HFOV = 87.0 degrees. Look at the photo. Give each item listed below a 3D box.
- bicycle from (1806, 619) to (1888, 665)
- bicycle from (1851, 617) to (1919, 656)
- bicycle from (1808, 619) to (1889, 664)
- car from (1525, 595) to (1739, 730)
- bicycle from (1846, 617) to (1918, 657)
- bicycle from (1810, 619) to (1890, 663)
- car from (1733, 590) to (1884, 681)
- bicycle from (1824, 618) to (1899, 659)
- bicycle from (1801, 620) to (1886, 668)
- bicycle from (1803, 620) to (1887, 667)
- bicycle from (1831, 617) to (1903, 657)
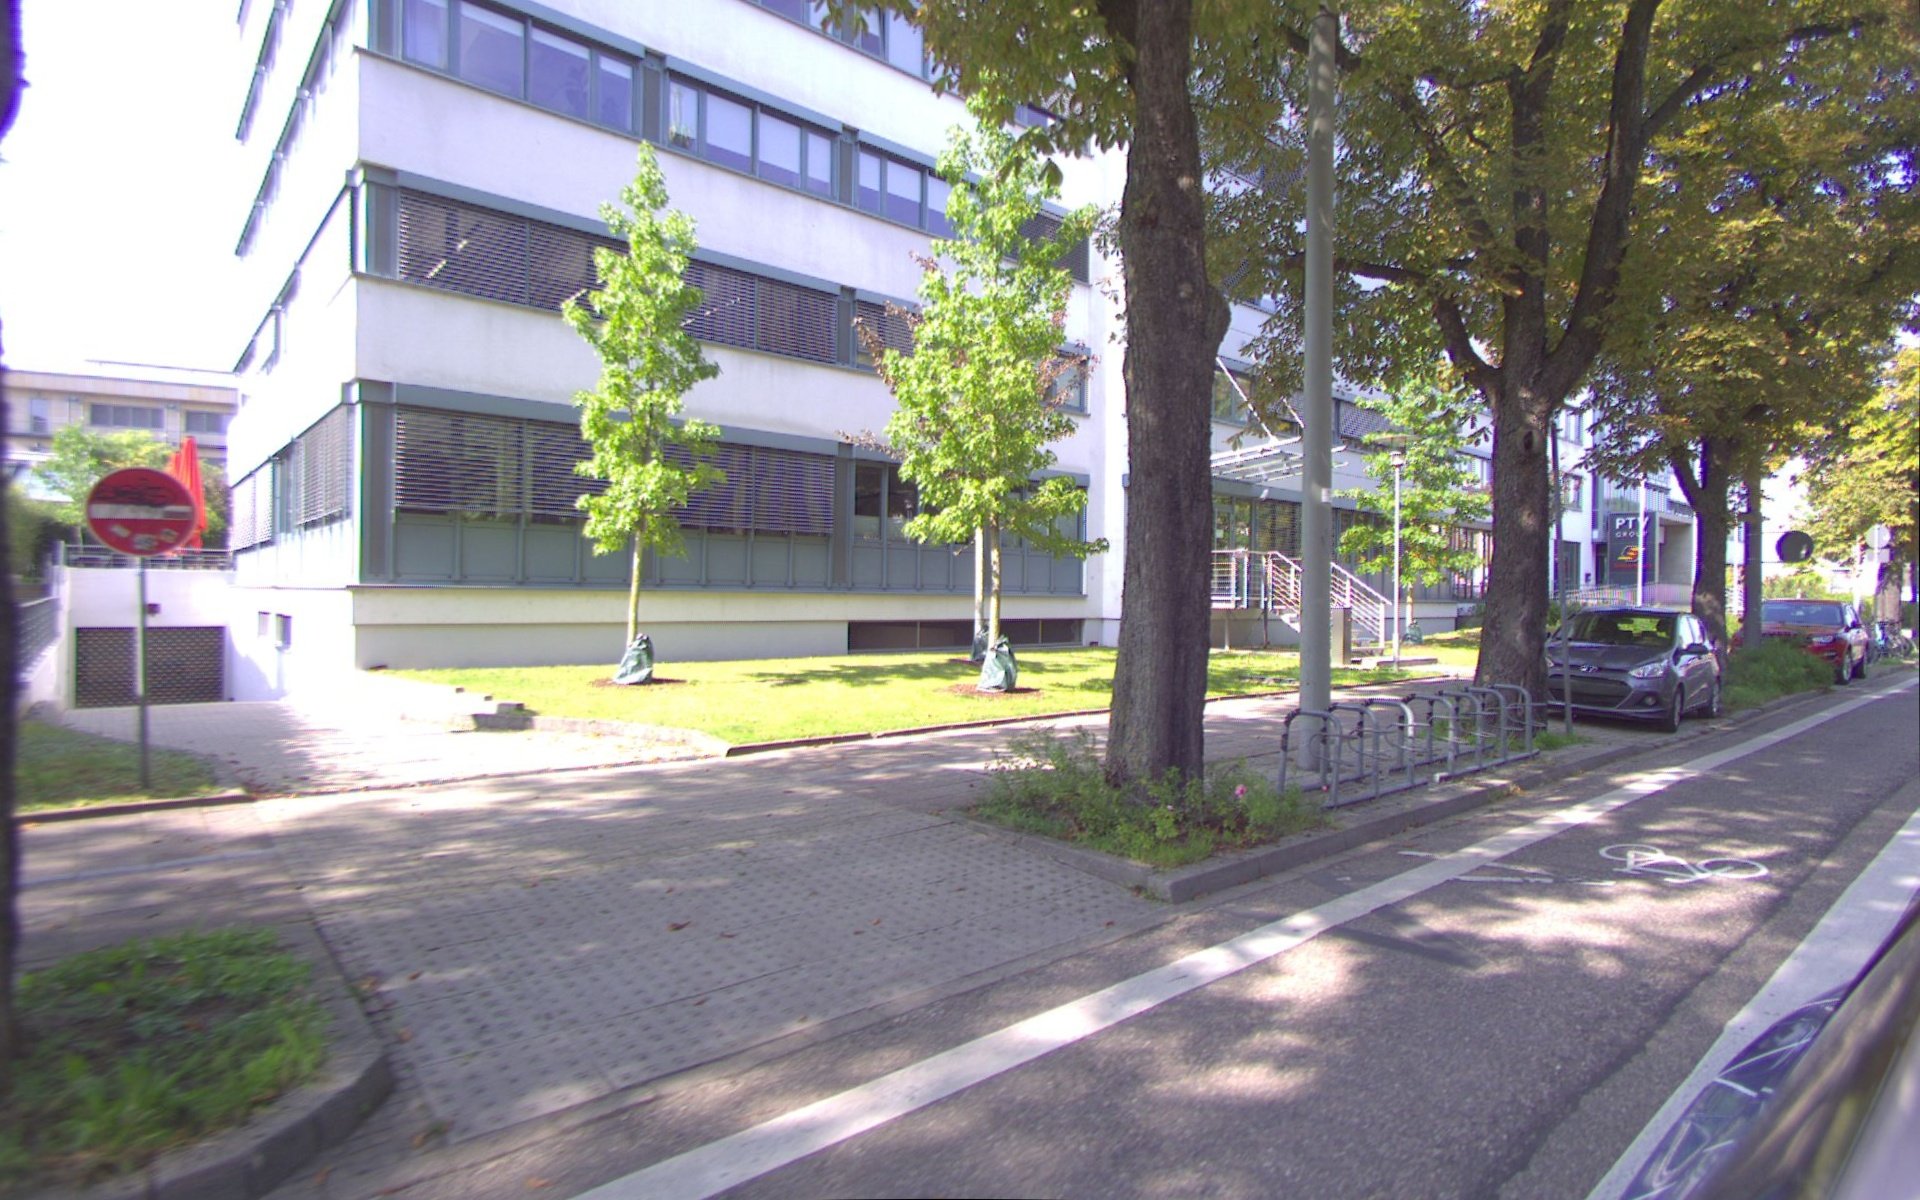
[{"bbox_3d":[21.461,1.009,24.496,0.376,1.027,1.458,1,0,-43],"label":"bicycle"},{"bbox_3d":[26.041,1.010,28.316,0.376,1.027,1.618,1,0,-43],"label":"bicycle"},{"bbox_3d":[21.772,1.008,24.814,0.376,1.027,1.458,1,0,-43],"label":"bicycle"},{"bbox_3d":[8.943,0.706,13.370,3.505,1.459,1.564,0,3,-44],"label":"car"},{"bbox_3d":[25.598,1.009,28.114,0.376,1.027,1.458,1,0,-43],"label":"bicycle"},{"bbox_3d":[22.080,1.007,25.134,0.376,1.027,1.458,1,0,-43],"label":"bicycle"},{"bbox_3d":[17.891,0.665,21.267,4.112,1.673,1.864,0,2,-42],"label":"car"},{"bbox_3d":[24.157,1.008,27.138,0.376,1.027,1.458,1,0,-43],"label":"bicycle"},{"bbox_3d":[20.568,1.004,23.585,0.376,1.027,1.458,1,0,-43],"label":"bicycle"},{"bbox_3d":[20.883,1.010,23.902,0.376,1.027,1.458,1,0,-43],"label":"bicycle"},{"bbox_3d":[25.085,1.007,27.994,0.376,1.027,1.458,1,0,-43],"label":"bicycle"}]
